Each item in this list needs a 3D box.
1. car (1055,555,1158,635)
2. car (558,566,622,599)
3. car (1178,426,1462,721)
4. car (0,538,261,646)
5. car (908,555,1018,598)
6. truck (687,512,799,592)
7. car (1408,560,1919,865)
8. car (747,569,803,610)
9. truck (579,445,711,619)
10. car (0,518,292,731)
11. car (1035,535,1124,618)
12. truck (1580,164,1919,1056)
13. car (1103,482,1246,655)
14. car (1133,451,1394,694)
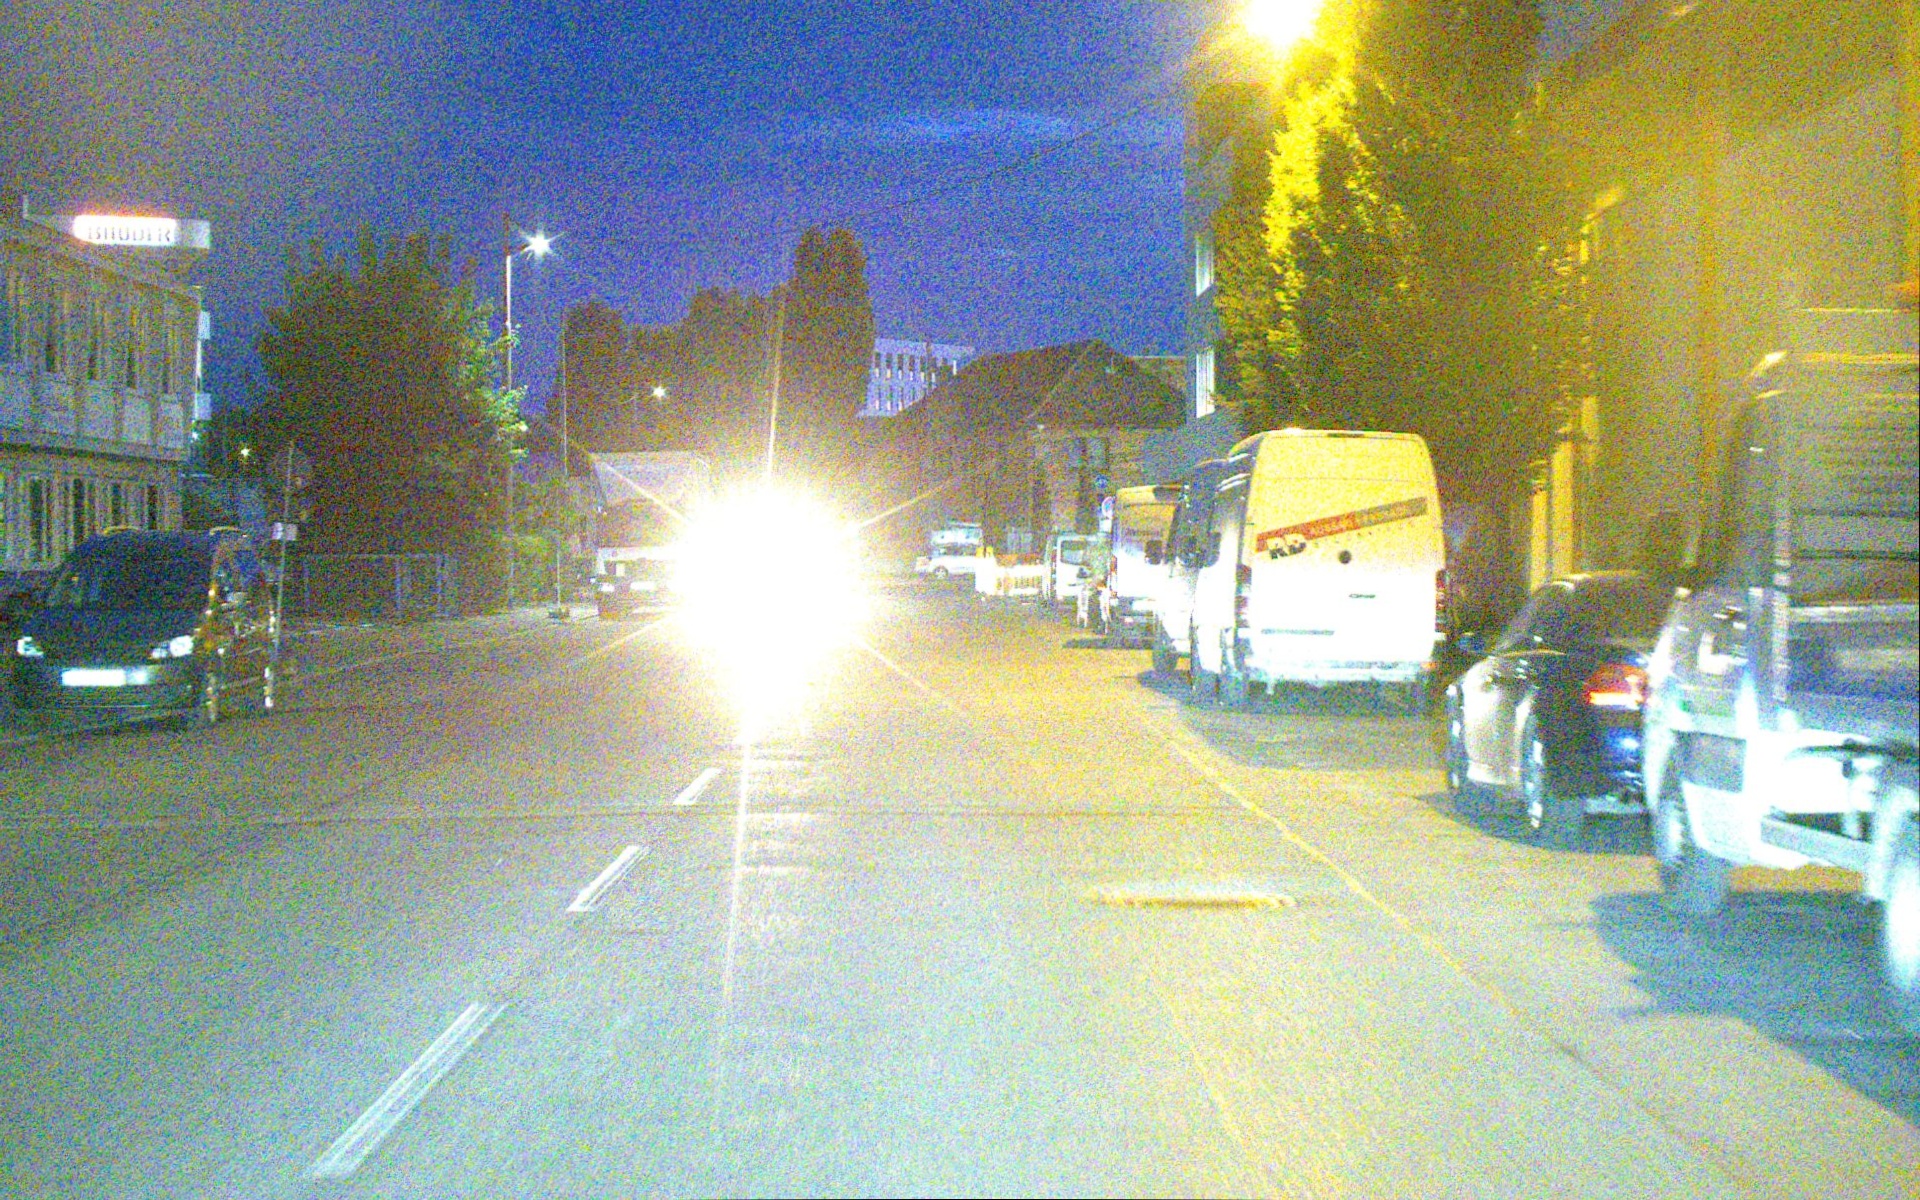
[{"bbox_3d":[2.849,-0.126,67.333,1.946,1.484,5.010,0,1,2],"label":"car"},{"bbox_3d":[-15.727,-0.771,146.013,1.814,1.366,4.362,0,1,-18],"label":"car"},{"bbox_3d":[3.414,-0.280,33.815,1.993,2.562,6.014,3,1,-1],"label":"car"},{"bbox_3d":[-13.645,-0.151,55.570,4.132,1.427,1.895,4,2,18],"label":"car"},{"bbox_3d":[0.121,-1.013,149.198,4.325,1.640,1.893,-3,2,-22],"label":"car"},{"bbox_3d":[-10.537,-2.296,165.818,2.754,3.770,9.139,-1,1,-21],"label":"truck"},{"bbox_3d":[3.799,0.522,19.269,1.829,1.403,4.909,3,1,-1],"label":"car"},{"bbox_3d":[-6.480,-0.378,120.807,1.857,1.415,4.000,0,0,-1],"label":"car"},{"bbox_3d":[-7.630,-1.621,84.322,2.746,4.020,9.561,0,1,-2],"label":"truck"},{"bbox_3d":[-7.507,0.190,32.058,1.813,1.843,4.415,0,0,-2],"label":"car"},{"bbox_3d":[2.986,-0.614,86.727,1.993,2.007,4.912,-1,1,0],"label":"car"},{"bbox_3d":[3.995,-0.004,12.268,2.401,2.585,6.597,0,1,0],"label":"truck"},{"bbox_3d":[3.346,-0.509,54.620,1.994,2.517,5.909,3,1,2],"label":"car"},{"bbox_3d":[3.470,-0.350,40.557,2.128,2.562,5.910,3,1,-3],"label":"car"}]
